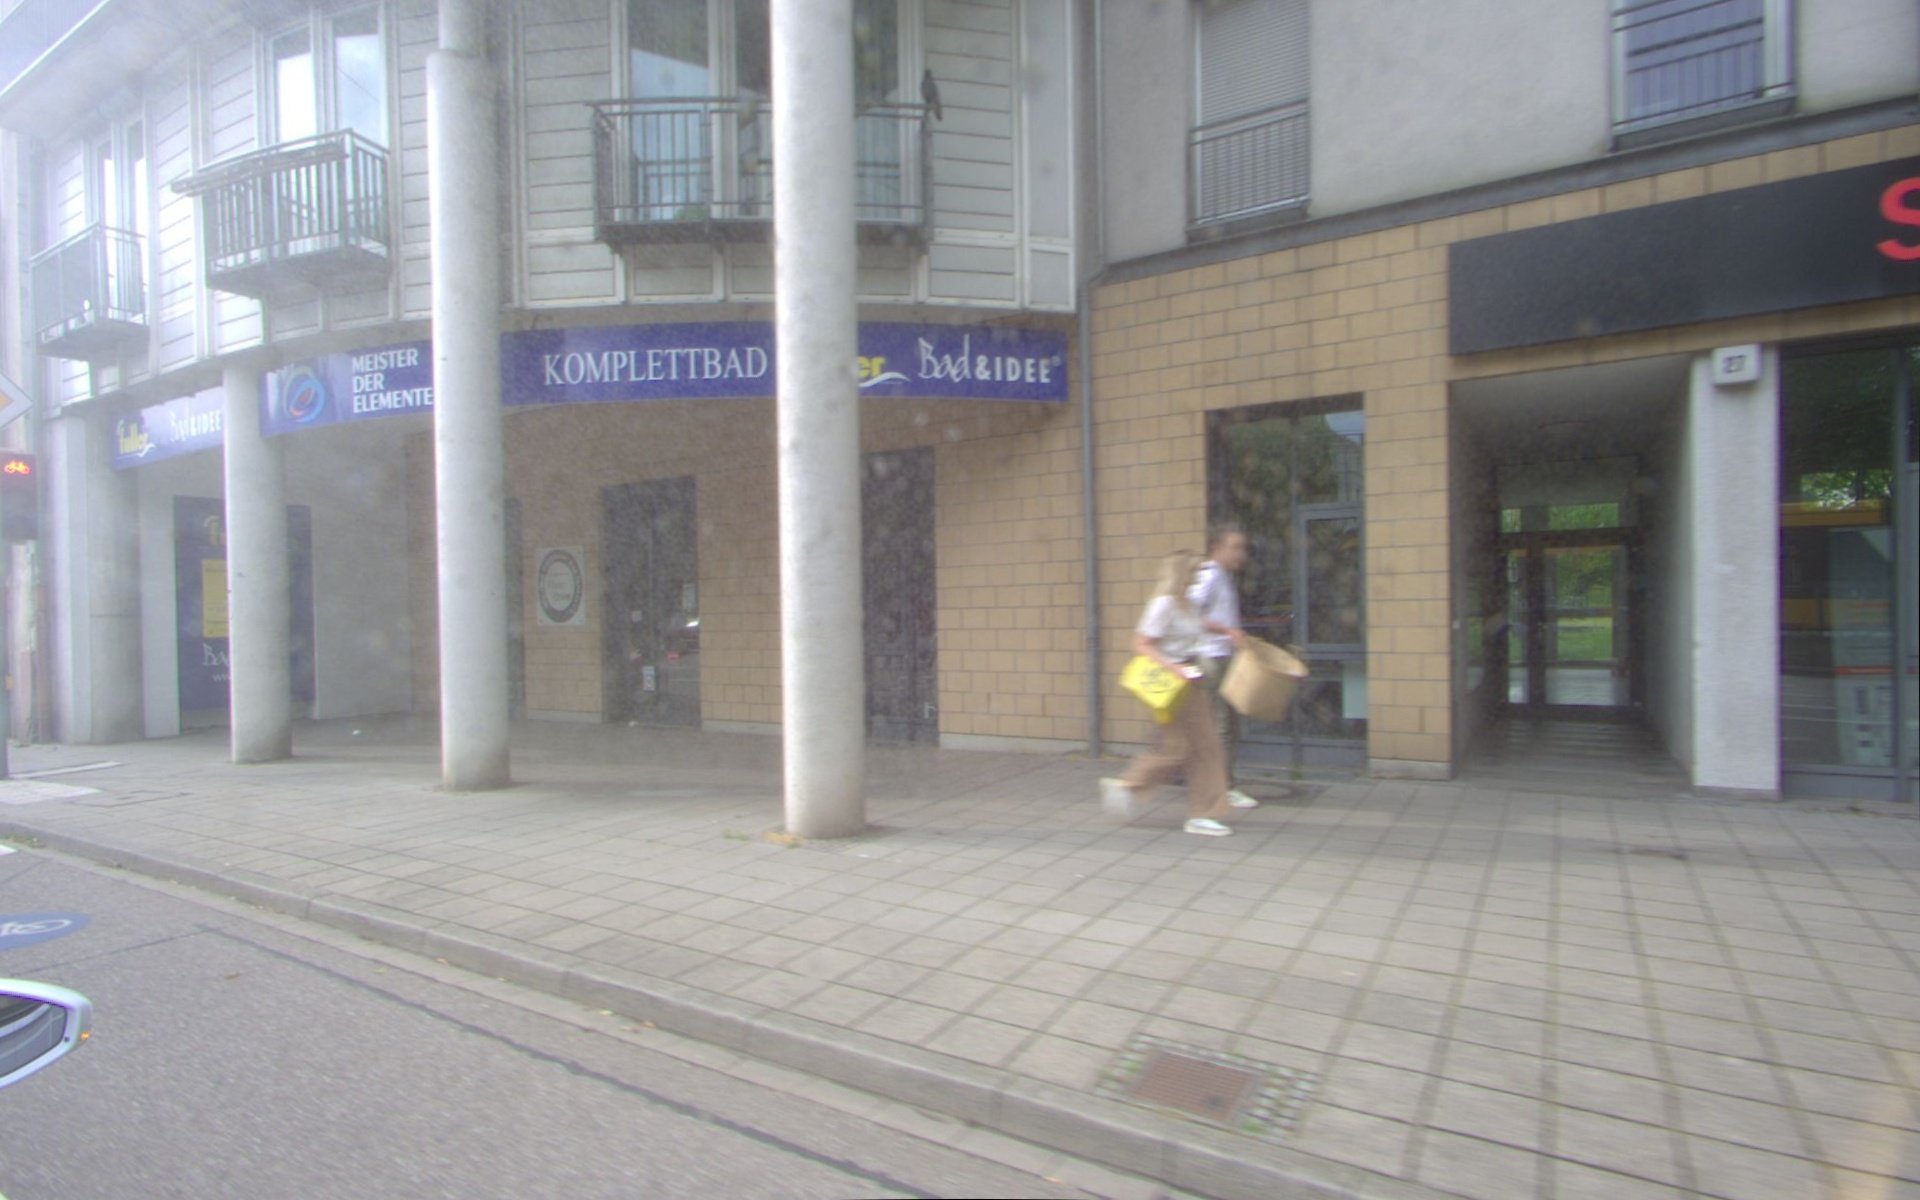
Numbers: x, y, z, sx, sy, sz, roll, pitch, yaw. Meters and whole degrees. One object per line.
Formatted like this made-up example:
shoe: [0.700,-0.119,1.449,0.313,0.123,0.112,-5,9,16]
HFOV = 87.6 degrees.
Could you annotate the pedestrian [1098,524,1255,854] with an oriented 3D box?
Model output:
pedestrian: [1.301,0.497,5.998,0.727,1.829,0.614,-1,1,33]

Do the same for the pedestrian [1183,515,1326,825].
pedestrian: [1.968,0.440,6.669,0.727,1.916,0.673,-1,1,33]
